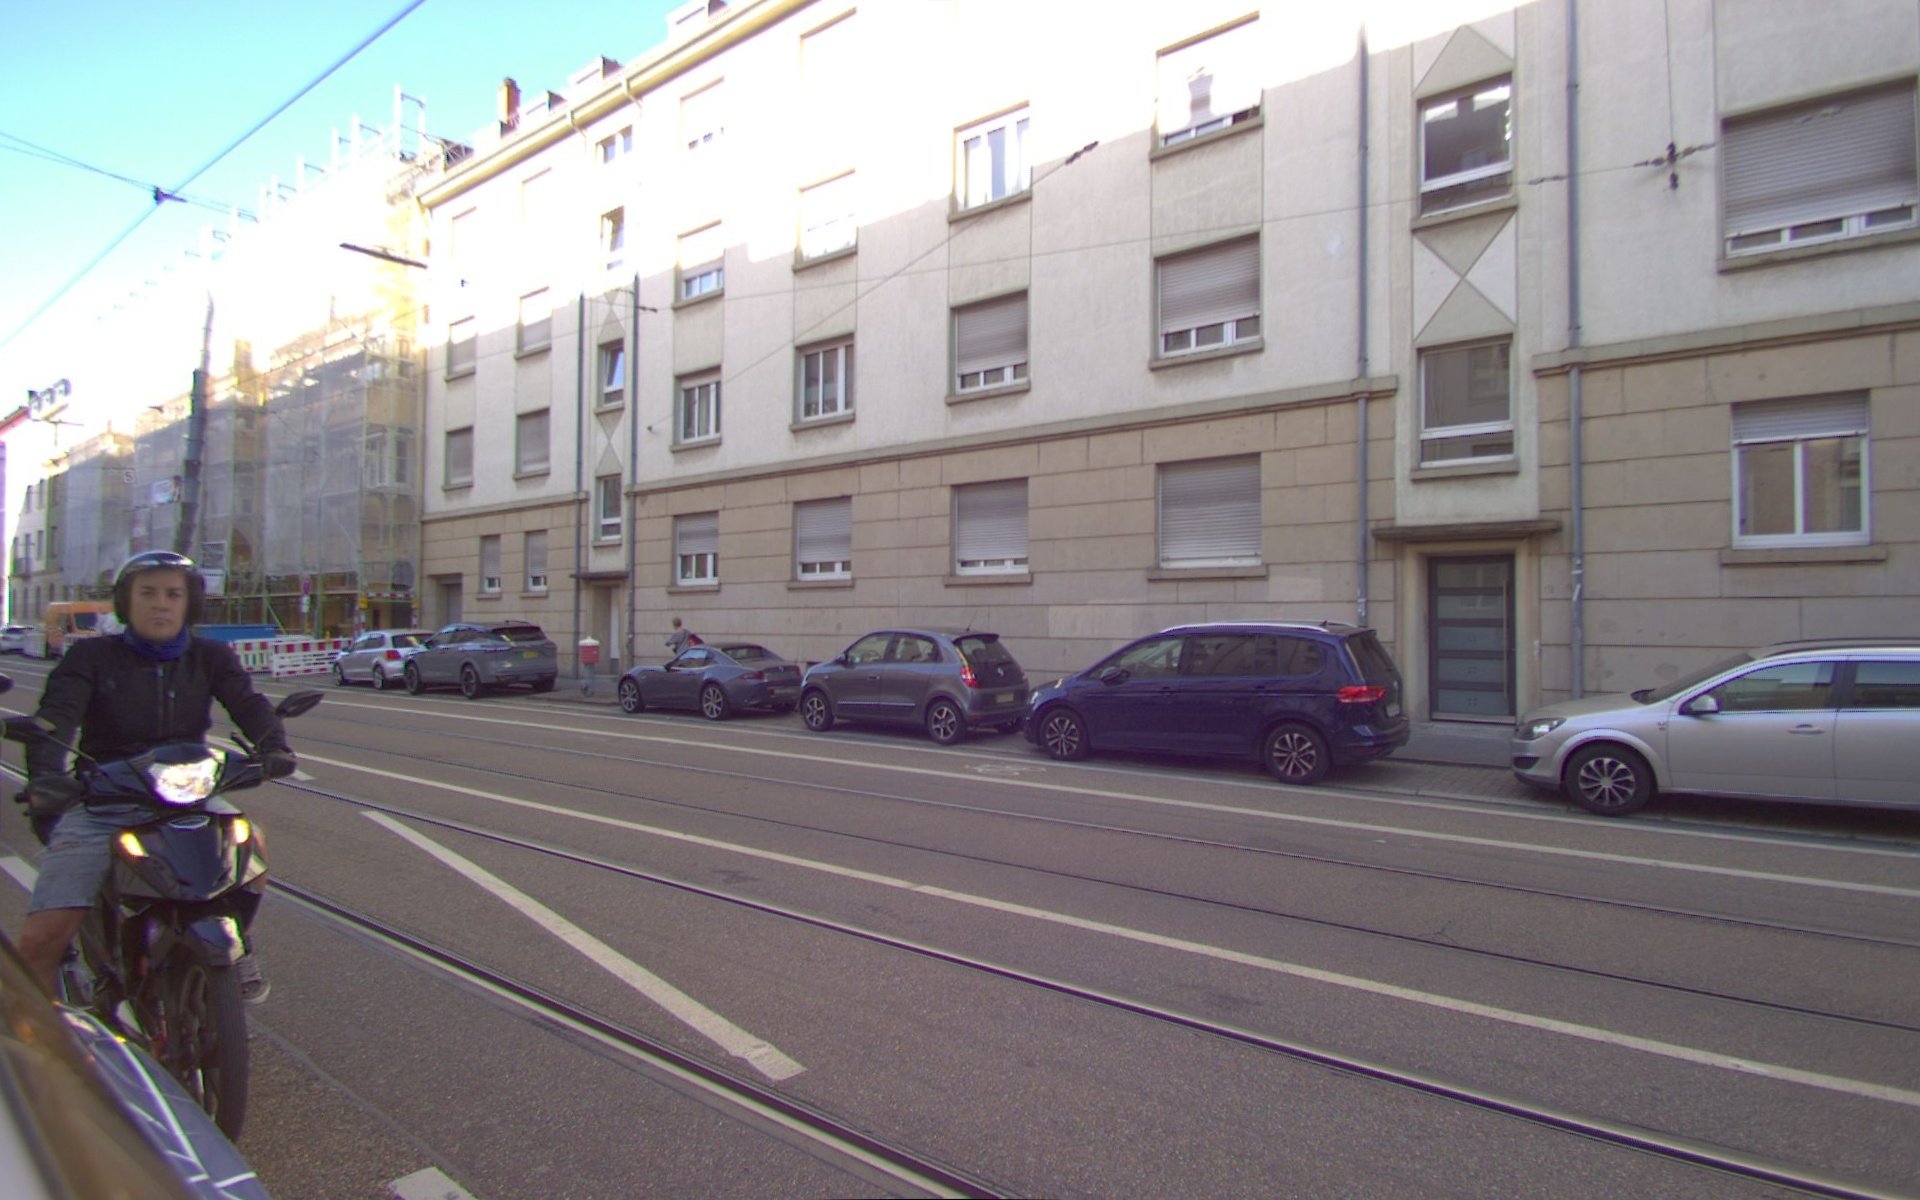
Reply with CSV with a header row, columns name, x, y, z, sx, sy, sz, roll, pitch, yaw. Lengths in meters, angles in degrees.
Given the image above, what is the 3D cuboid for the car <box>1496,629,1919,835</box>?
name,x,y,z,sx,sy,sz,roll,pitch,yaw
car,7.123,1.002,8.502,4.383,1.489,1.779,-1,-1,38

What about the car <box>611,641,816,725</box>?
name,x,y,z,sx,sy,sz,roll,pitch,yaw
car,-4.317,1.364,17.501,3.681,1.244,1.502,-1,-1,38

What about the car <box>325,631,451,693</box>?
name,x,y,z,sx,sy,sz,roll,pitch,yaw
car,-14.387,1.496,25.398,3.506,1.423,1.524,-1,-1,38

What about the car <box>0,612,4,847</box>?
name,x,y,z,sx,sy,sz,roll,pitch,yaw
car,-8.154,0.855,6.984,4.143,1.473,1.664,-2,-1,38

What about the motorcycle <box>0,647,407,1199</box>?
name,x,y,z,sx,sy,sz,roll,pitch,yaw
motorcycle,-2.642,0.818,3.238,2.272,1.302,0.781,-2,-3,41

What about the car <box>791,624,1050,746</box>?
name,x,y,z,sx,sy,sz,roll,pitch,yaw
car,-0.631,1.132,14.655,3.535,1.539,1.659,-1,-1,38

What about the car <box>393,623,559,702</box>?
name,x,y,z,sx,sy,sz,roll,pitch,yaw
car,-10.885,1.332,22.661,4.201,1.611,1.675,-1,-1,38

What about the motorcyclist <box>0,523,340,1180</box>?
name,x,y,z,sx,sy,sz,roll,pitch,yaw
motorcyclist,-2.545,0.656,3.161,0.899,1.668,0.781,-2,-3,41

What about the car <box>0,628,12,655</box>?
name,x,y,z,sx,sy,sz,roll,pitch,yaw
car,-54.583,2.320,56.819,3.964,1.498,1.662,-2,-1,42

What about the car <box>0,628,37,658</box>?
name,x,y,z,sx,sy,sz,roll,pitch,yaw
car,-50.068,2.265,53.343,3.964,1.498,1.662,-2,-1,42

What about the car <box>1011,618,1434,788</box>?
name,x,y,z,sx,sy,sz,roll,pitch,yaw
car,2.890,1.032,11.677,4.383,1.611,1.779,-1,-1,38

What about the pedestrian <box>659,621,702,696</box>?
name,x,y,z,sx,sy,sz,roll,pitch,yaw
pedestrian,-5.896,1.222,21.327,0.693,1.553,0.563,-2,-3,39
